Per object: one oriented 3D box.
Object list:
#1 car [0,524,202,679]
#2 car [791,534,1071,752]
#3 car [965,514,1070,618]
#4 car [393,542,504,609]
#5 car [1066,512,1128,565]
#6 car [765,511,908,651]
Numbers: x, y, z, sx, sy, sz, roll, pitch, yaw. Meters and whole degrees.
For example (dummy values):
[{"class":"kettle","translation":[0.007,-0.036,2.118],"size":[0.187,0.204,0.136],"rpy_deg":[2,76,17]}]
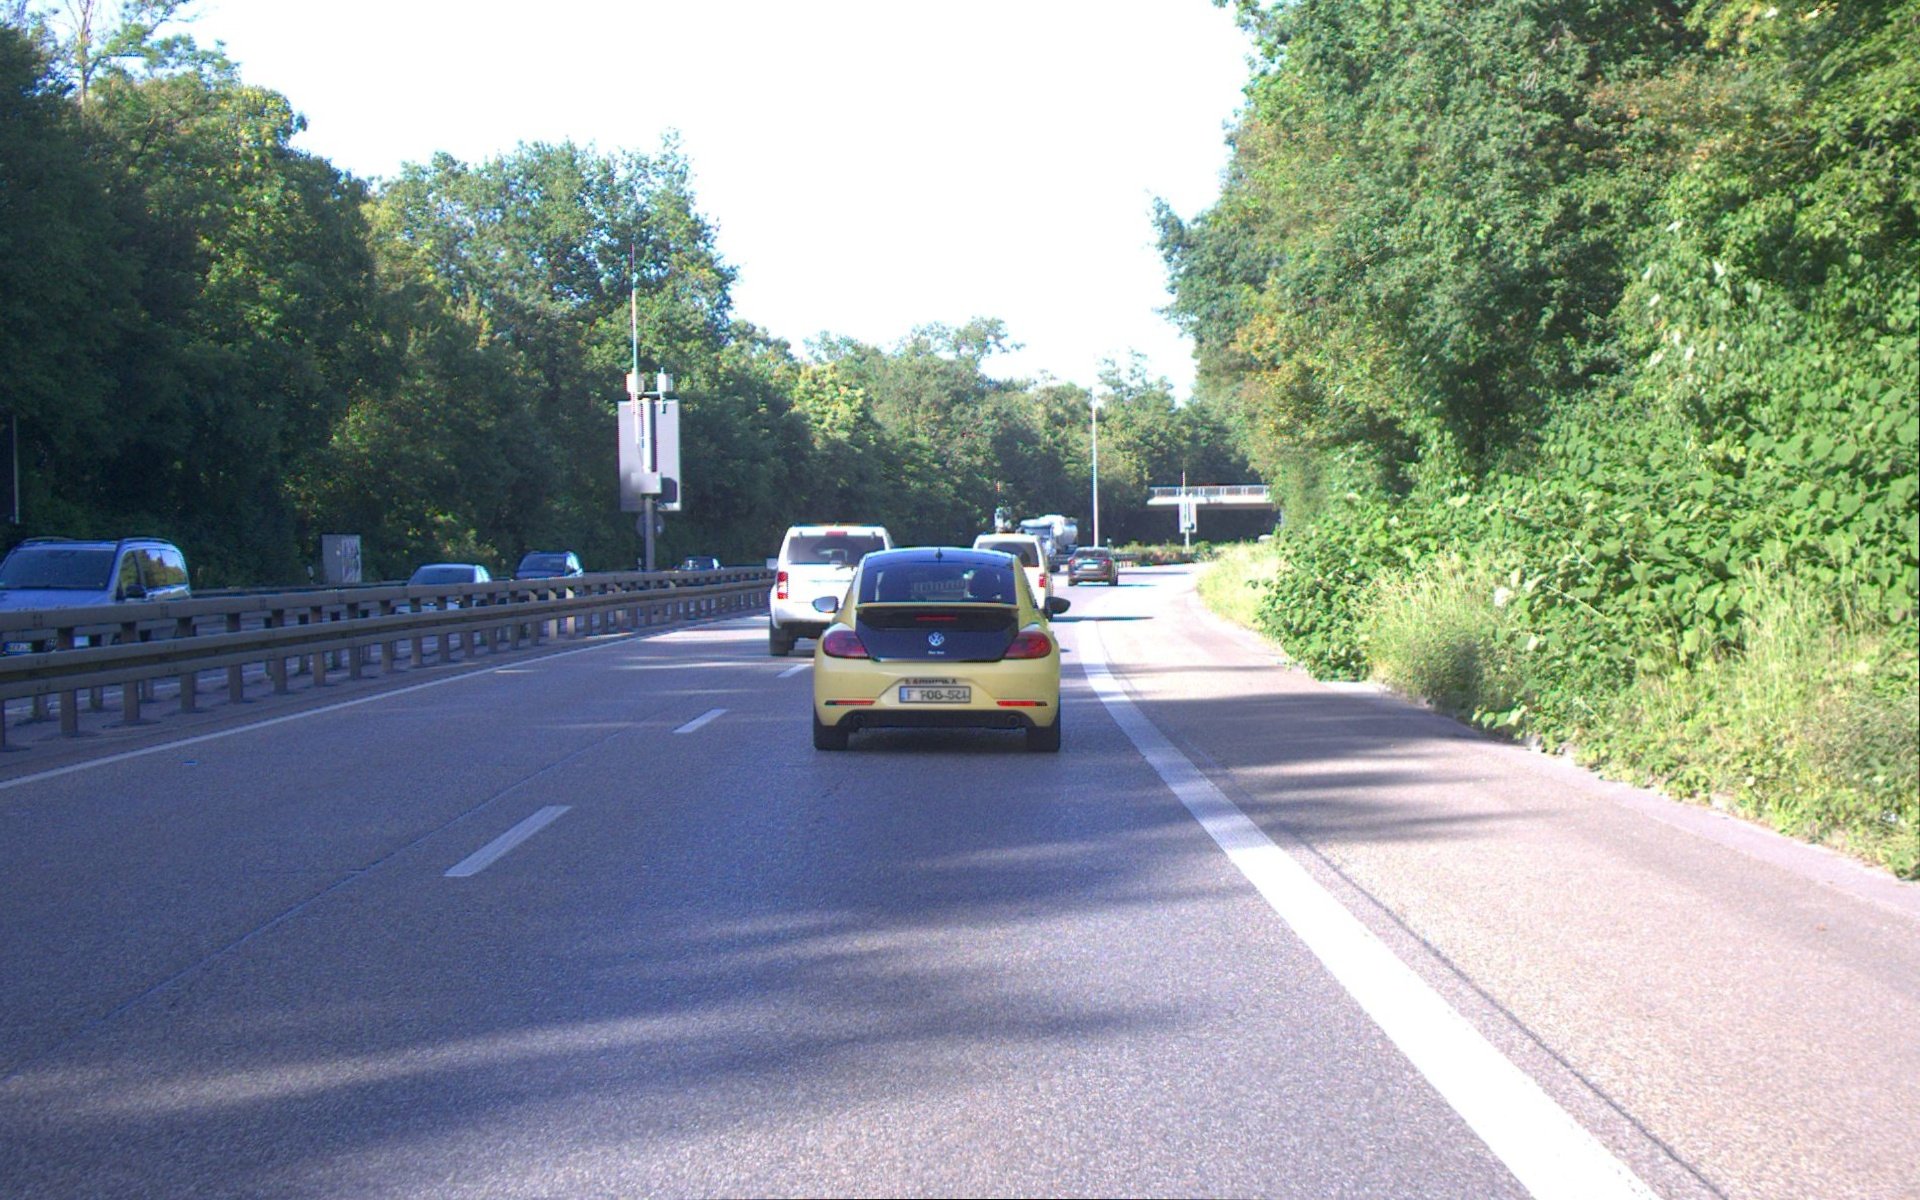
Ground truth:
[{"class":"car","translation":[-11.719,-0.023,46.100],"size":[1.887,1.896,5.416],"rpy_deg":[-3,1,-1]},{"class":"car","translation":[-0.237,0.266,25.610],"size":[1.939,1.503,3.423],"rpy_deg":[0,1,-1]},{"class":"car","translation":[1.157,-0.736,71.212],"size":[1.993,2.007,4.000],"rpy_deg":[-3,1,0]},{"class":"car","translation":[-11.013,-0.546,74.260],"size":[1.597,1.309,3.909],"rpy_deg":[-2,1,3]},{"class":"car","translation":[5.253,-2.375,131.763],"size":[2.263,1.869,5.076],"rpy_deg":[-2,1,3]},{"class":"car","translation":[-1.662,-0.289,47.156],"size":[1.741,1.823,3.422],"rpy_deg":[1,1,1]}]
